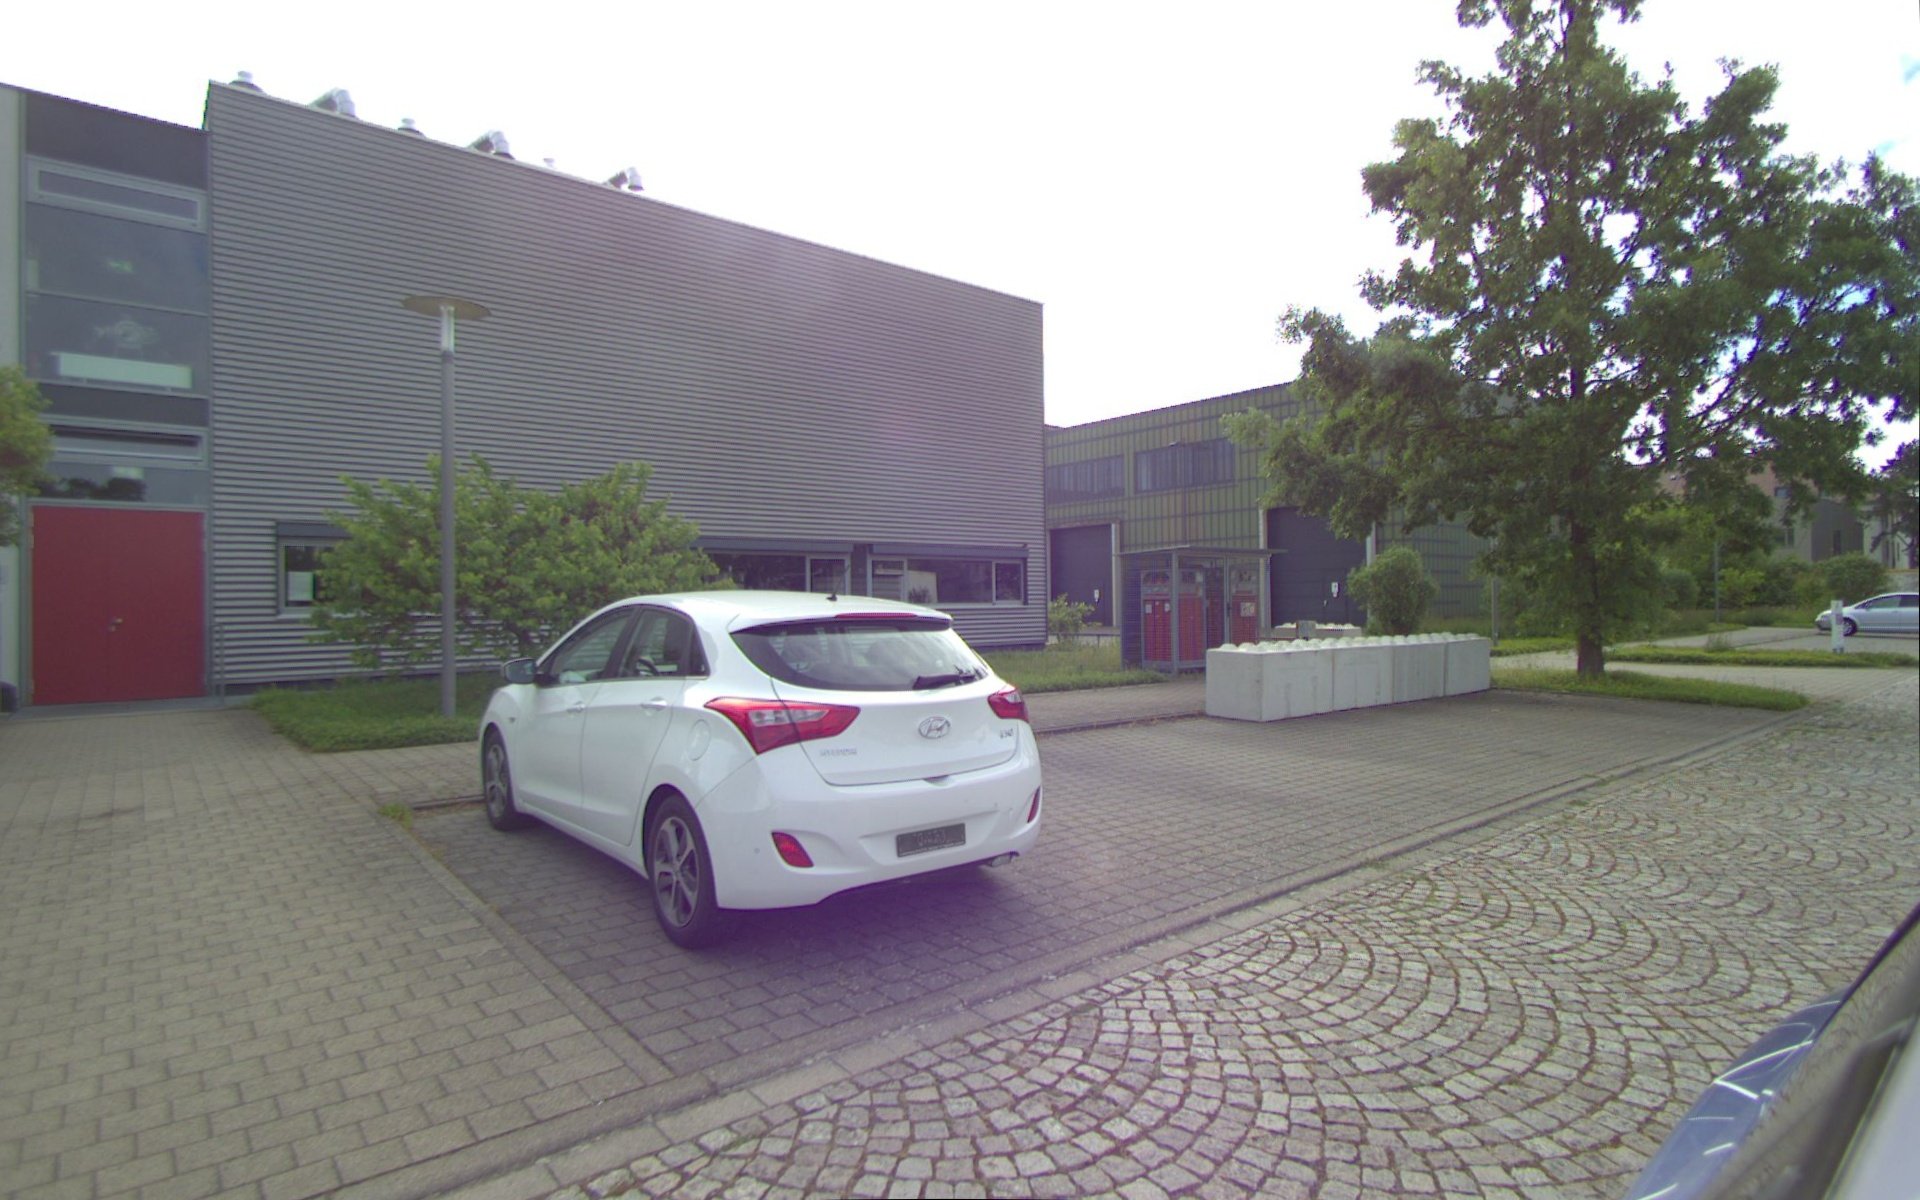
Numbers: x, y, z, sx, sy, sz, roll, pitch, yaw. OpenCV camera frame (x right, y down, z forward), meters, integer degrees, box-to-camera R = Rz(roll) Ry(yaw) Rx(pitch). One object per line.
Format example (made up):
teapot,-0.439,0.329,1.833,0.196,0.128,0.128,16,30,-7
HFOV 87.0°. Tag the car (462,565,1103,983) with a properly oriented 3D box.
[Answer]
car,-1.300,0.612,5.731,1.849,1.485,3.983,0,0,-40

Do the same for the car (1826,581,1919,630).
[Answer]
car,33.072,0.162,35.344,1.906,1.645,4.126,-1,2,-42
